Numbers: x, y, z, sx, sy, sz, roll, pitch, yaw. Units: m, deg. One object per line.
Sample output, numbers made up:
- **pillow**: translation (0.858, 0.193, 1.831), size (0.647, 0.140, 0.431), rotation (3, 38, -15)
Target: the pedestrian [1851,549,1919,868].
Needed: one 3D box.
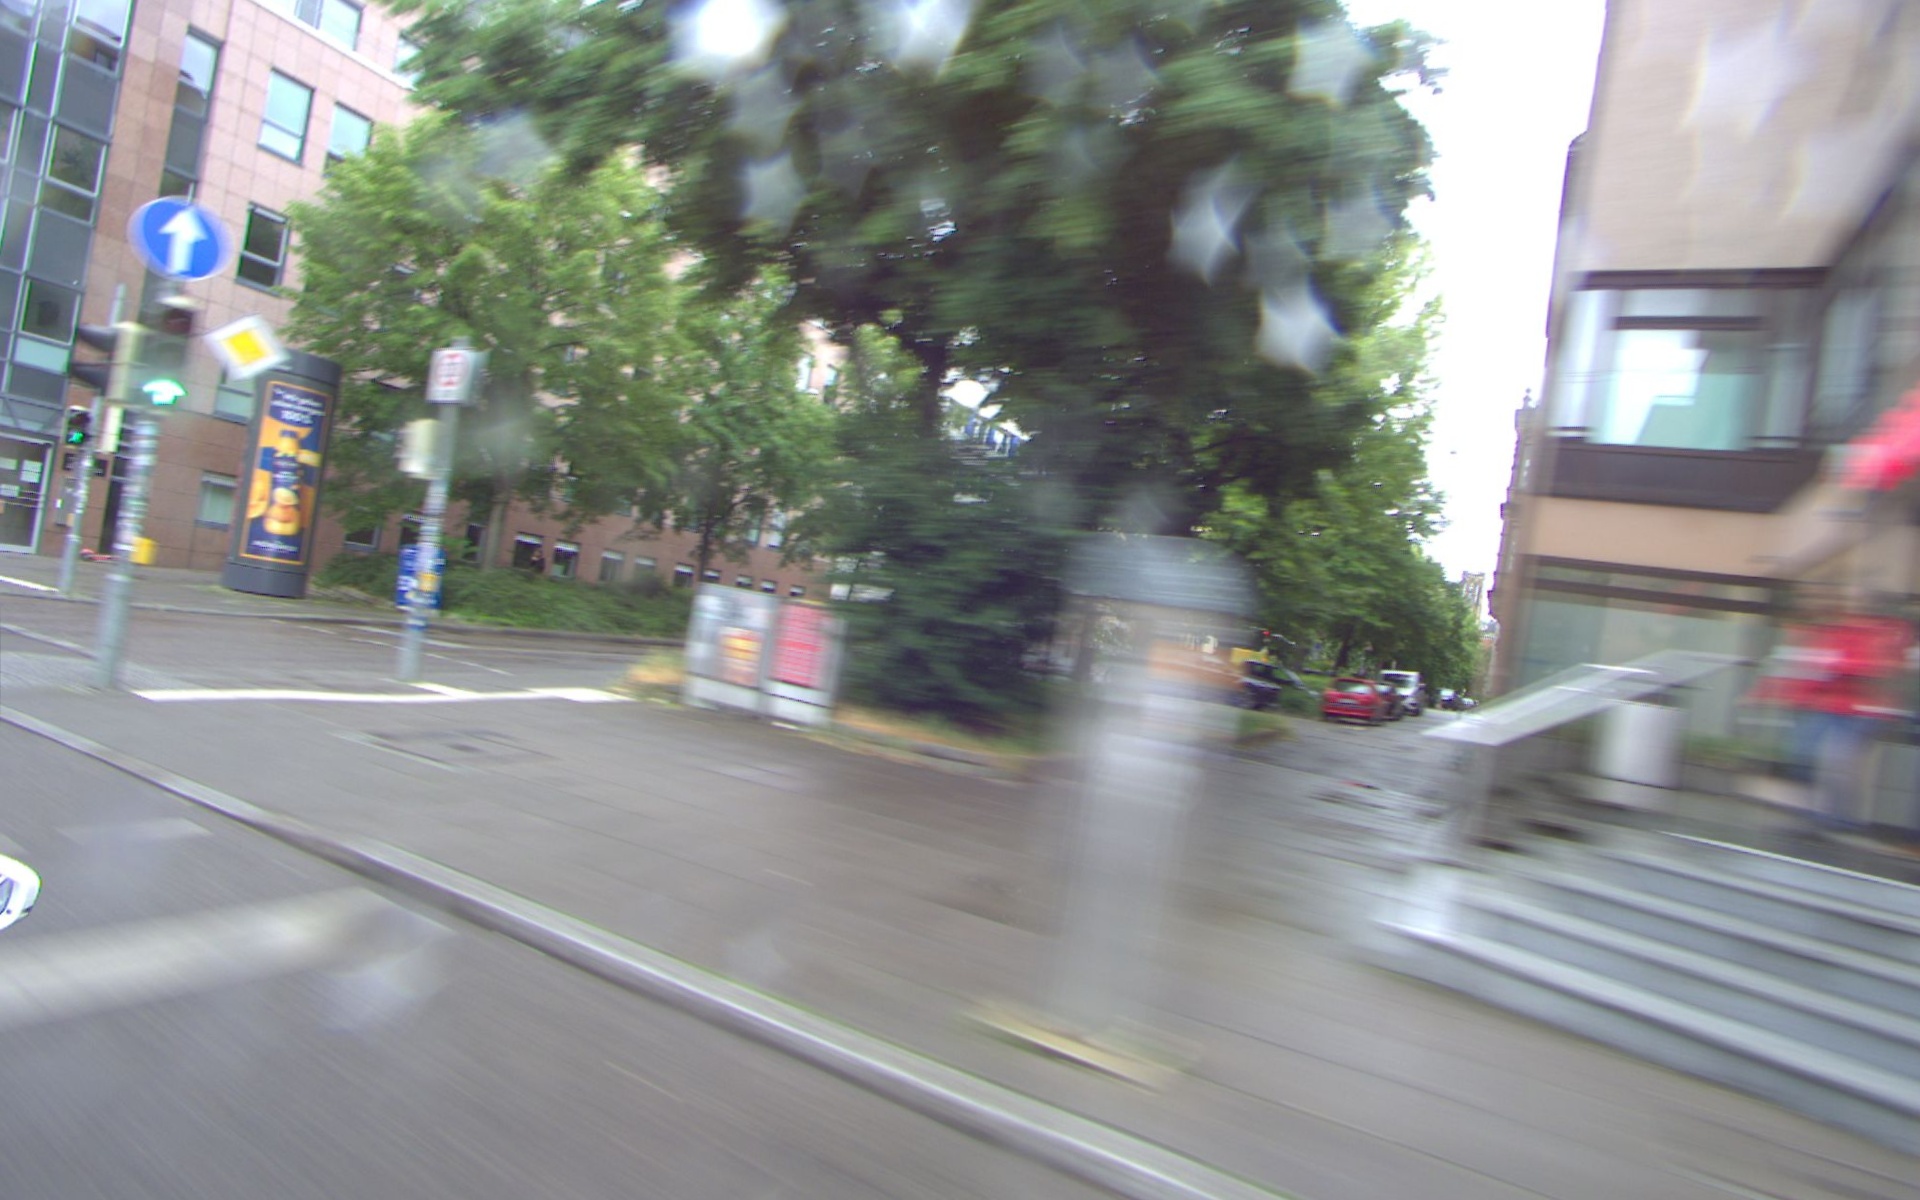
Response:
- **pedestrian**: translation (5.886, 0.663, 5.903), size (0.658, 1.841, 0.594), rotation (7, -1, -20)

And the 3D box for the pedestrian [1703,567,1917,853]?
- **pedestrian**: translation (5.358, 0.675, 6.359), size (0.715, 1.669, 0.623), rotation (7, -1, -20)

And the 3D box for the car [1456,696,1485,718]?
- **car**: translation (40.562, 8.538, 79.884), size (1.645, 1.472, 3.669), rotation (7, -2, 31)

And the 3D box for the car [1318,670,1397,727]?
- **car**: translation (12.525, 3.103, 31.583), size (1.645, 1.472, 3.670), rotation (7, -2, 30)

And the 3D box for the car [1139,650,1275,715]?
- **car**: translation (7.907, 2.626, 32.227), size (3.803, 1.478, 1.678), rotation (7, -1, 28)

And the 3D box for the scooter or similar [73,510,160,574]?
- **scooter or similar**: translation (-19.250, -1.306, 22.982), size (0.320, 1.241, 1.376), rotation (7, -1, 32)

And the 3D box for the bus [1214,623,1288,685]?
- **bus**: translation (17.628, 3.363, 60.317), size (2.802, 3.053, 10.507), rotation (7, -2, 23)

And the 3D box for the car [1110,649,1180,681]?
- **car**: translation (11.614, 4.096, 63.221), size (3.802, 1.498, 1.701), rotation (7, 0, 31)

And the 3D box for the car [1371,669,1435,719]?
- **car**: translation (21.176, 4.518, 47.970), size (1.824, 2.018, 5.397), rotation (7, -2, 33)

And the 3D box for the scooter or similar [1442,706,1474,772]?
- **scooter or similar**: translation (9.499, 2.634, 19.171), size (0.374, 1.187, 0.926), rotation (7, -1, 30)

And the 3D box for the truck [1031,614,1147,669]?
- **truck**: translation (7.357, 2.359, 57.525), size (5.979, 2.304, 2.264), rotation (7, -1, 29)

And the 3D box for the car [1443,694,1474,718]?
- **car**: translation (35.996, 7.683, 72.623), size (1.645, 1.472, 3.669), rotation (7, -2, 31)

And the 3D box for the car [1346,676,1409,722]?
- **car**: translation (16.171, 3.818, 38.876), size (1.645, 1.472, 3.670), rotation (7, -2, 30)
